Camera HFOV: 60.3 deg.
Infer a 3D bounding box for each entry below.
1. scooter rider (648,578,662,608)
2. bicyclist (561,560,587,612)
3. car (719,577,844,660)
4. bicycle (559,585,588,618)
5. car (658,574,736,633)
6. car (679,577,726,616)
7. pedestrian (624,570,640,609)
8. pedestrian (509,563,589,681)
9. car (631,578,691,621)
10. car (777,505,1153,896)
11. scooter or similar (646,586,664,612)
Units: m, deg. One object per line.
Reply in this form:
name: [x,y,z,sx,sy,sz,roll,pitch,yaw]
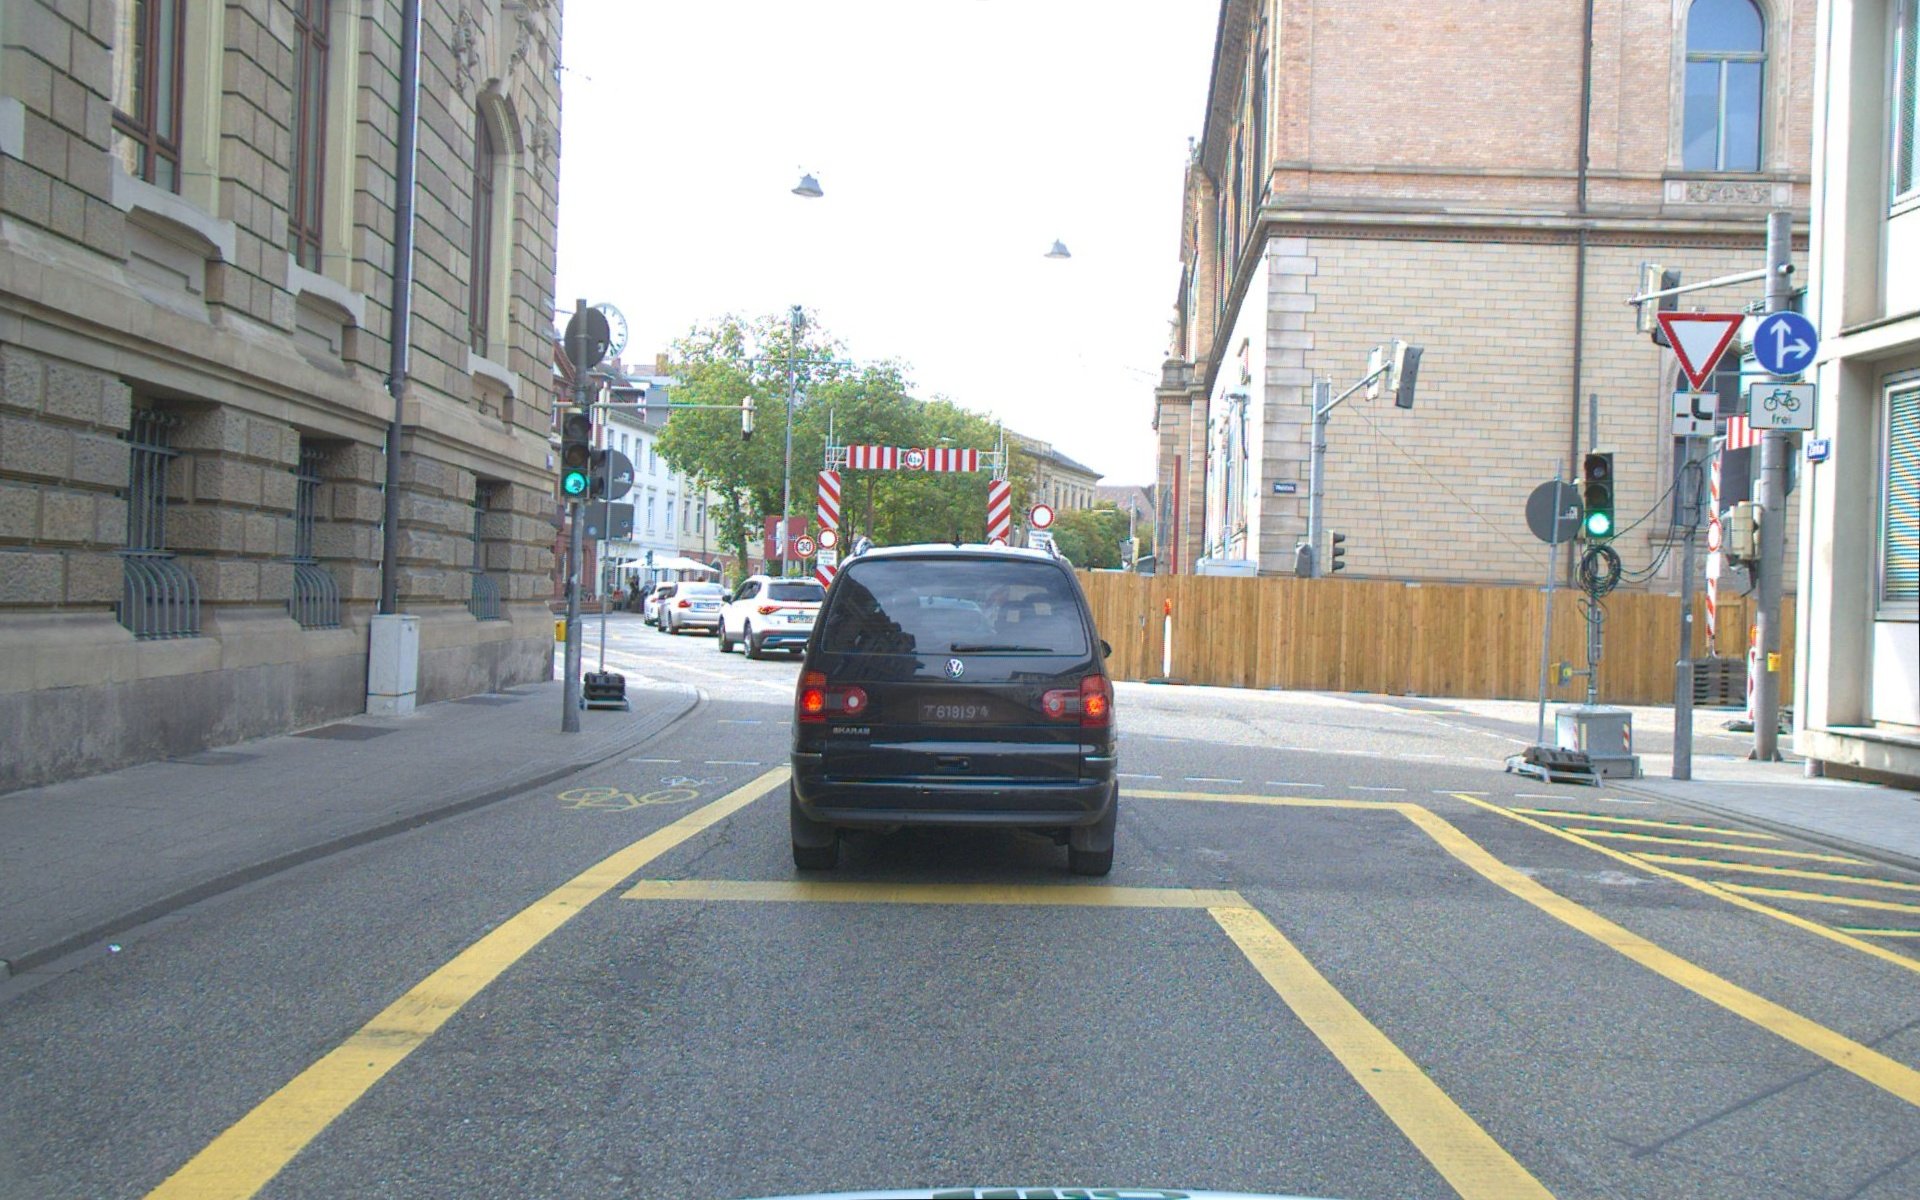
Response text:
scooter rider: [-15.526,-0.369,84.232,0.587,1.516,0.679,1,-1,0]
bicyclist: [-15.173,-0.561,65.063,0.909,1.997,1.103,1,-1,-10]
car: [-3.784,0.366,34.529,1.746,1.613,3.978,2,0,-19]
bicycle: [-15.198,0.058,65.081,0.909,1.277,2.535,1,0,-10]
car: [-7.327,0.099,45.756,1.675,1.527,3.983,2,0,-15]
car: [-11.116,-0.134,71.599,1.739,1.613,3.995,1,0,-6]
pedestrian: [-17.347,-0.554,87.534,0.573,2.049,0.687,1,-1,13]
pedestrian: [-6.740,0.351,27.152,1.023,1.851,0.794,3,-1,-1]
car: [-9.916,-0.021,54.652,1.622,1.344,3.660,2,0,-15]
car: [0.037,0.492,10.026,1.753,1.821,4.103,2,0,0]
scooter or similar: [-15.536,-0.059,84.173,0.587,1.277,1.552,1,0,0]
